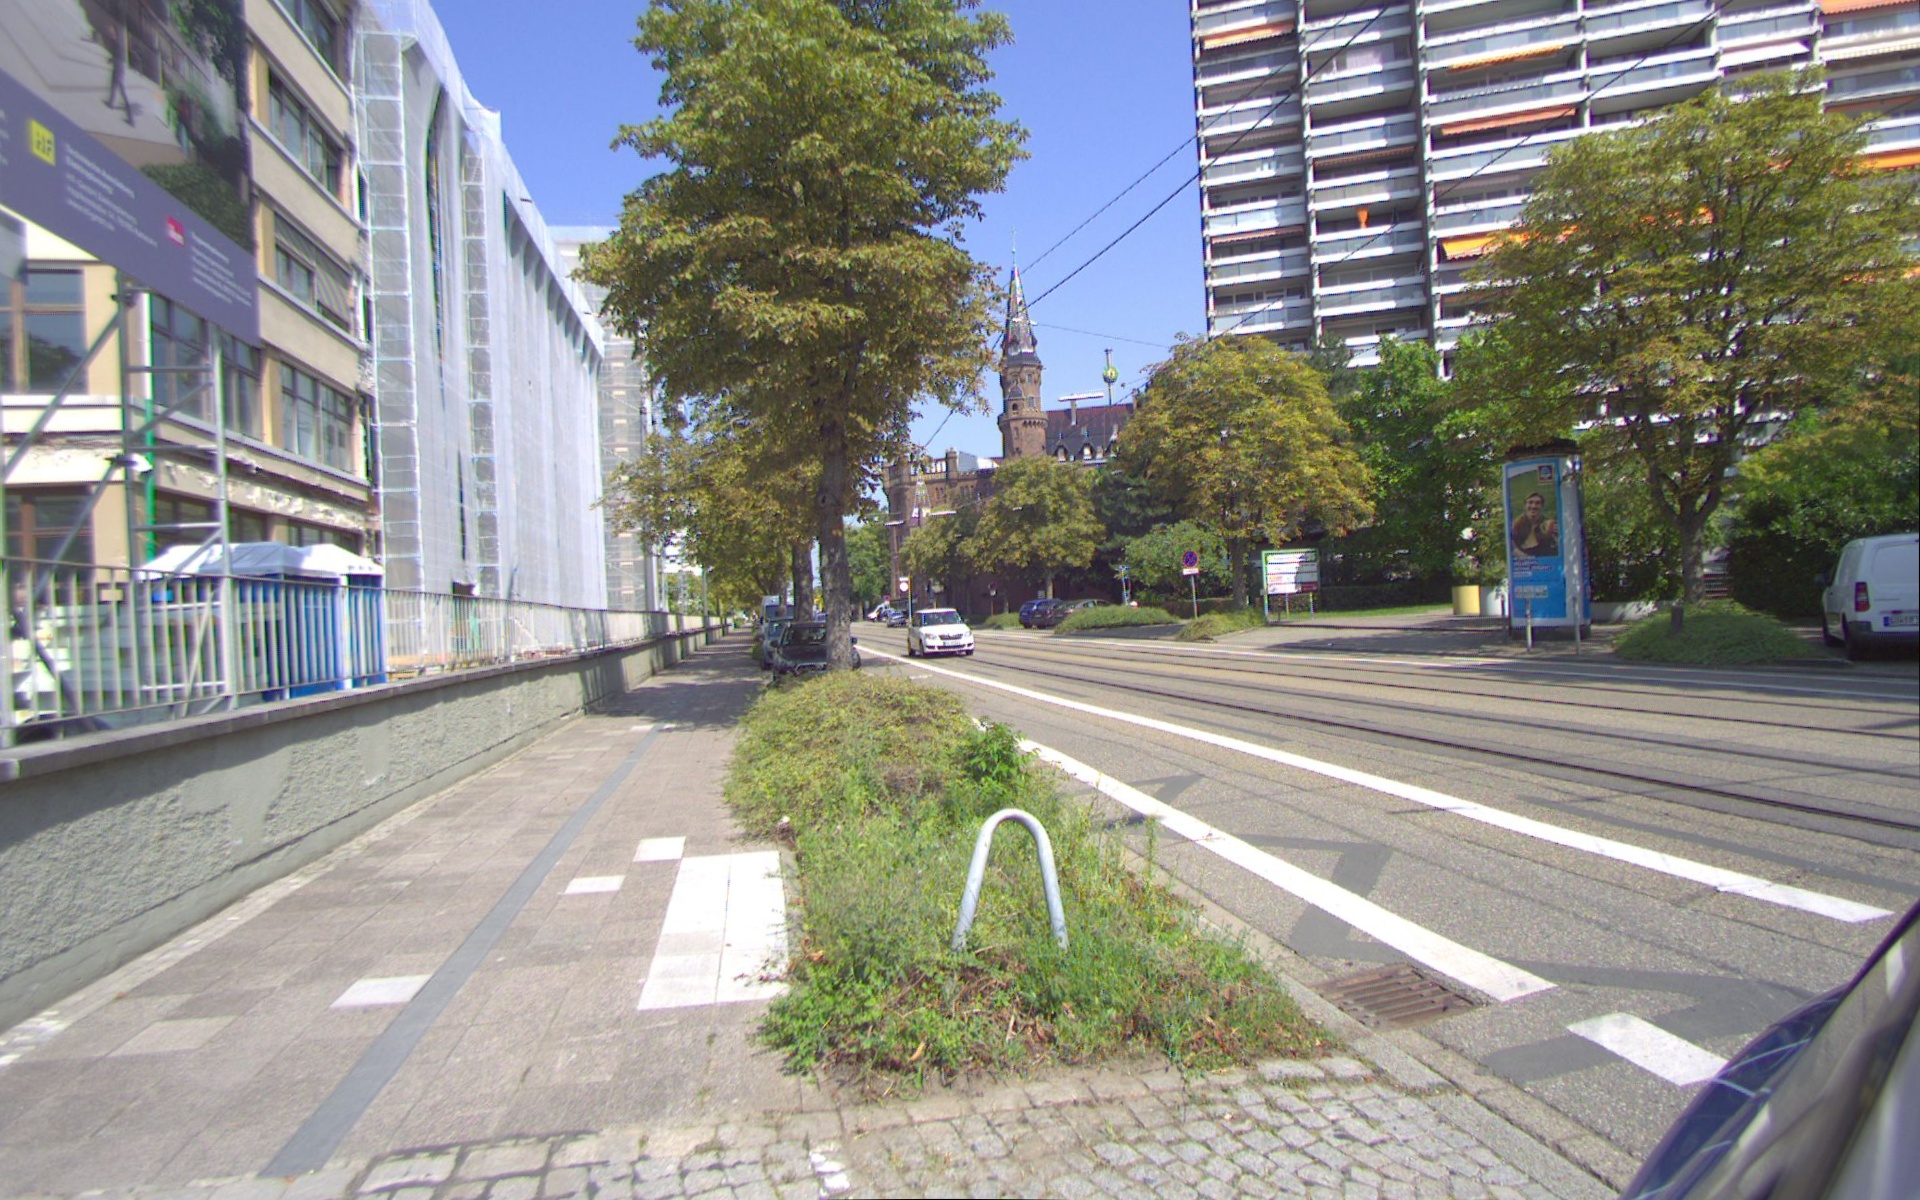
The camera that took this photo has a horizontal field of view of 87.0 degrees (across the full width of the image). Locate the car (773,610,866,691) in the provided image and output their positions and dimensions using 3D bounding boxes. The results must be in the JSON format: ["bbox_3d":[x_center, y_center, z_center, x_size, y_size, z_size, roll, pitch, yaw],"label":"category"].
[{"bbox_3d":[-3.141,1.023,21.919,1.645,1.476,4.670,-3,-1,-11],"label":"car"}]

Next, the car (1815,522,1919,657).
[{"bbox_3d":[14.286,-0.219,15.141,1.813,1.794,4.232,-4,-1,35],"label":"car"}]

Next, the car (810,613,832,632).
[{"bbox_3d":[-12.316,1.977,89.601,1.644,1.505,3.784,-3,0,-11],"label":"car"}]

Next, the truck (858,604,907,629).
[{"bbox_3d":[-10.923,2.356,142.276,6.387,2.555,2.320,-8,0,-11],"label":"truck"}]

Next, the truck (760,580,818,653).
[{"bbox_3d":[-7.012,0.659,41.159,1.883,2.631,5.601,-4,0,-12],"label":"truck"}]

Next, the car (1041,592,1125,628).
[{"bbox_3d":[6.403,0.506,52.675,4.219,1.516,1.779,-4,-1,-37],"label":"car"}]

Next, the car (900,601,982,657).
[{"bbox_3d":[-0.671,0.895,31.912,1.788,1.511,4.025,-4,-1,-11],"label":"car"}]

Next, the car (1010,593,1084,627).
[{"bbox_3d":[5.103,0.574,58.913,3.925,1.669,1.841,-4,-1,-34],"label":"car"}]

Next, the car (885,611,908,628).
[{"bbox_3d":[-6.570,2.004,104.111,1.902,1.521,4.520,-4,-1,-9],"label":"car"}]

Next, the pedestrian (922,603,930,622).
[{"bbox_3d":[-3.542,1.294,105.471,0.501,2.005,0.513,-4,-1,33],"label":"pedestrian"}]

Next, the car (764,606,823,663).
[{"bbox_3d":[-5.302,1.042,31.902,1.645,1.600,4.178,-2,-1,-11],"label":"car"}]

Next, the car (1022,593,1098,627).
[{"bbox_3d":[5.515,0.557,55.657,3.929,1.590,1.778,-4,-1,-38],"label":"car"}]
